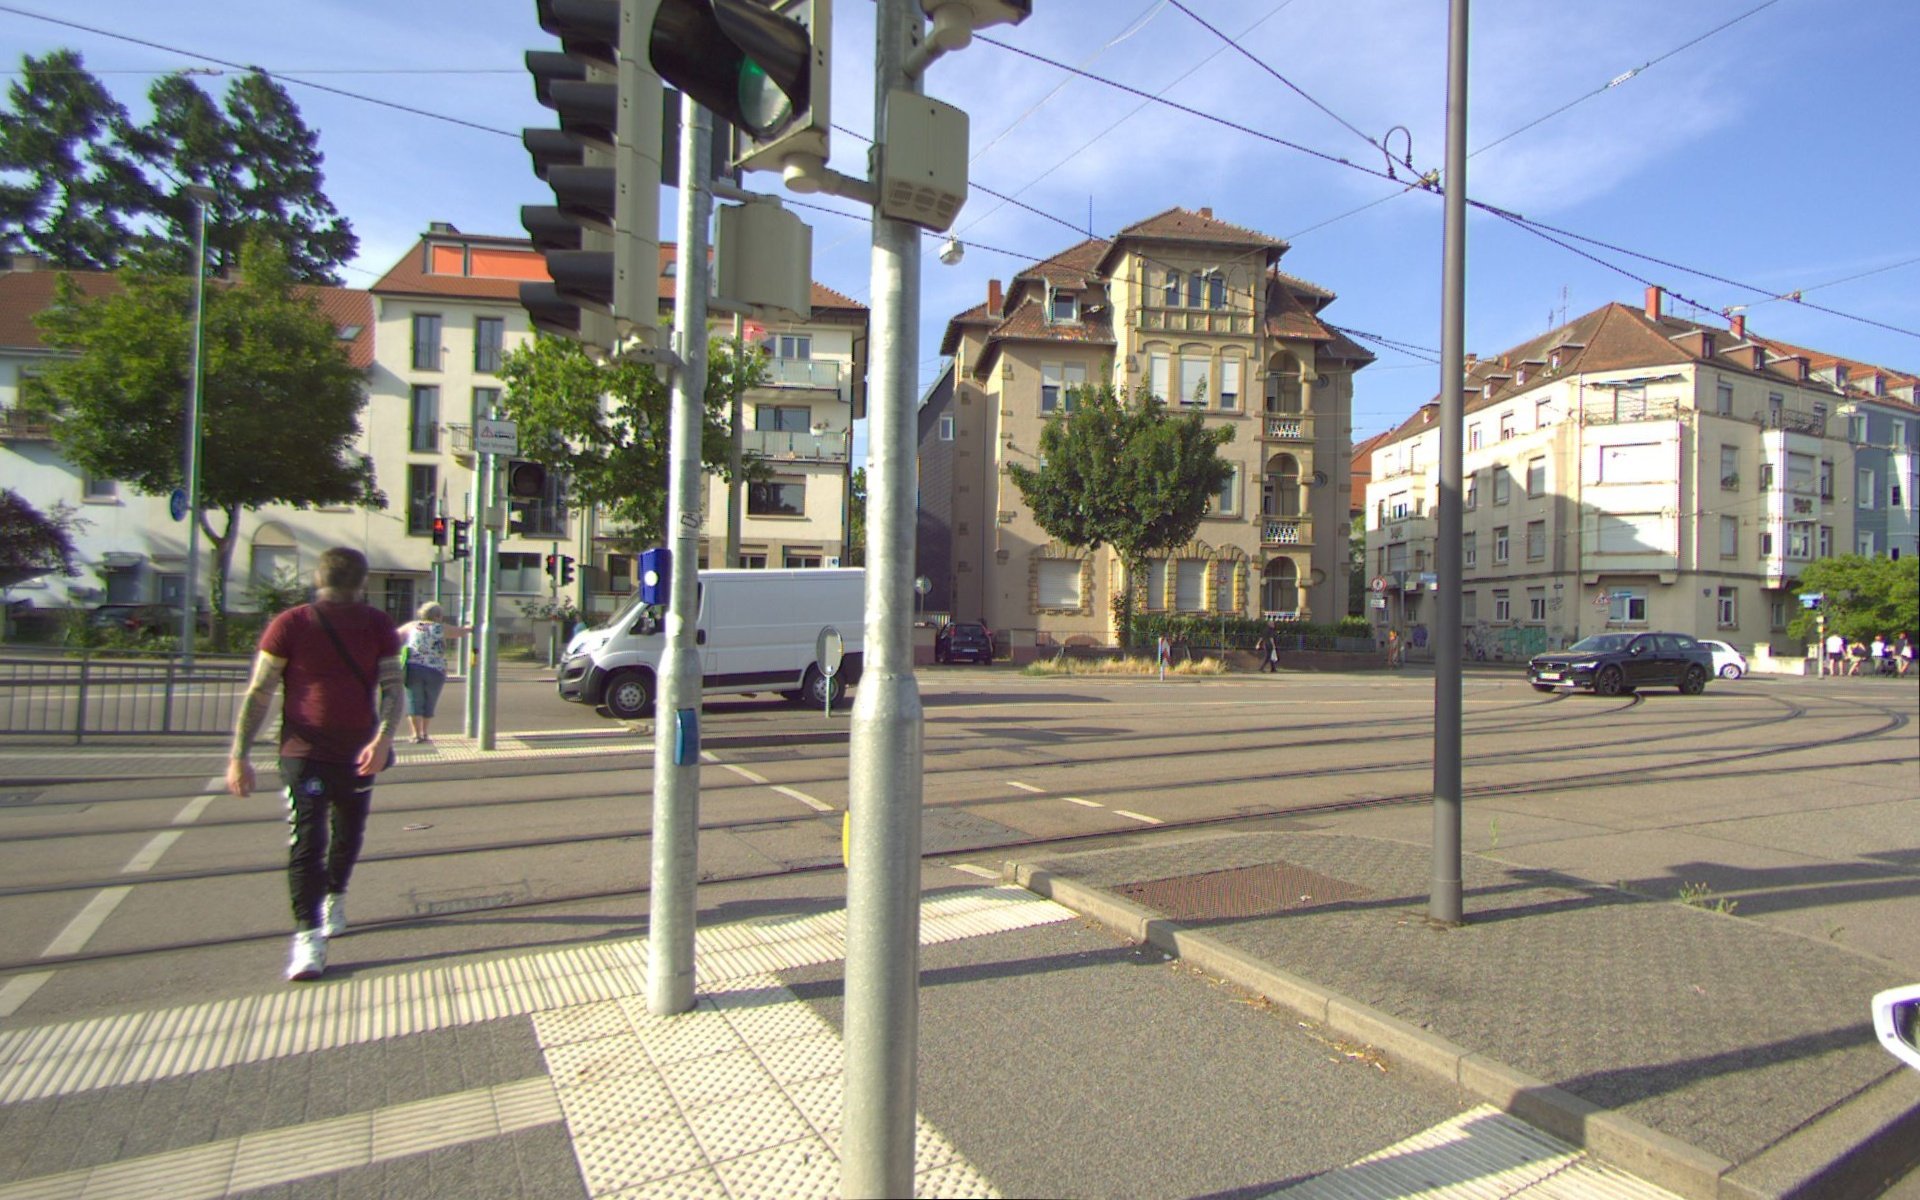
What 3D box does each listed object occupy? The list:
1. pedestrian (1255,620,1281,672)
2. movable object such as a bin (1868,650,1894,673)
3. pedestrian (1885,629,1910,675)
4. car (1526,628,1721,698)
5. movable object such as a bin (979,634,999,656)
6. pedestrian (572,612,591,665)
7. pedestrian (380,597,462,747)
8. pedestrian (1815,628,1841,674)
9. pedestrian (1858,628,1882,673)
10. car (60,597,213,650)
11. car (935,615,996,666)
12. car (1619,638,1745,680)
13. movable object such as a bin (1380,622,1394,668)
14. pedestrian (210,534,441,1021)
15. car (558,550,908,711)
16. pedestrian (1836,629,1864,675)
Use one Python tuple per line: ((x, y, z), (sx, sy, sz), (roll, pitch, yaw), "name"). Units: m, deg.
((10.121, 1.502, 33.051), (0.592, 1.673, 0.681), (2, -1, -3), "pedestrian")
((39.667, 2.661, 43.253), (0.653, 0.959, 0.582), (2, -1, -21), "movable object such as a bin")
((39.448, 2.175, 42.275), (0.618, 1.906, 0.583), (1, -1, -25), "pedestrian")
((16.117, 1.465, 24.372), (4.679, 1.514, 1.762), (0, -1, -25), "car")
((1.128, 1.756, 38.856), (0.599, 0.825, 0.654), (2, -1, -14), "movable object such as a bin")
((-11.092, 1.136, 29.470), (0.382, 1.536, 0.405), (1, -1, -4), "pedestrian")
((-6.020, 0.783, 11.217), (0.708, 1.610, 0.586), (2, -1, -34), "pedestrian")
((36.560, 2.126, 42.298), (0.618, 1.906, 0.656), (1, -1, -26), "pedestrian")
((38.883, 2.148, 42.935), (0.618, 1.906, 0.582), (1, -1, -26), "pedestrian")
((-26.420, 0.757, 32.414), (1.821, 1.578, 3.998), (1, -1, -4), "car")
((0.145, 1.397, 35.250), (1.742, 1.653, 3.997), (1, -1, -5), "car")
((28.265, 2.276, 39.361), (3.939, 1.476, 1.792), (0, -2, 39), "car")
((16.519, 1.721, 38.840), (0.259, 1.732, 2.379), (0, -1, 29), "movable object such as a bin")
((-2.494, 0.631, 4.050), (0.663, 1.692, 0.877), (2, -1, -28), "pedestrian")
((-3.650, 0.506, 16.263), (5.182, 2.269, 2.170), (2, -1, -25), "car")
((36.957, 2.157, 41.715), (0.640, 1.872, 0.673), (1, -1, -23), "pedestrian")
